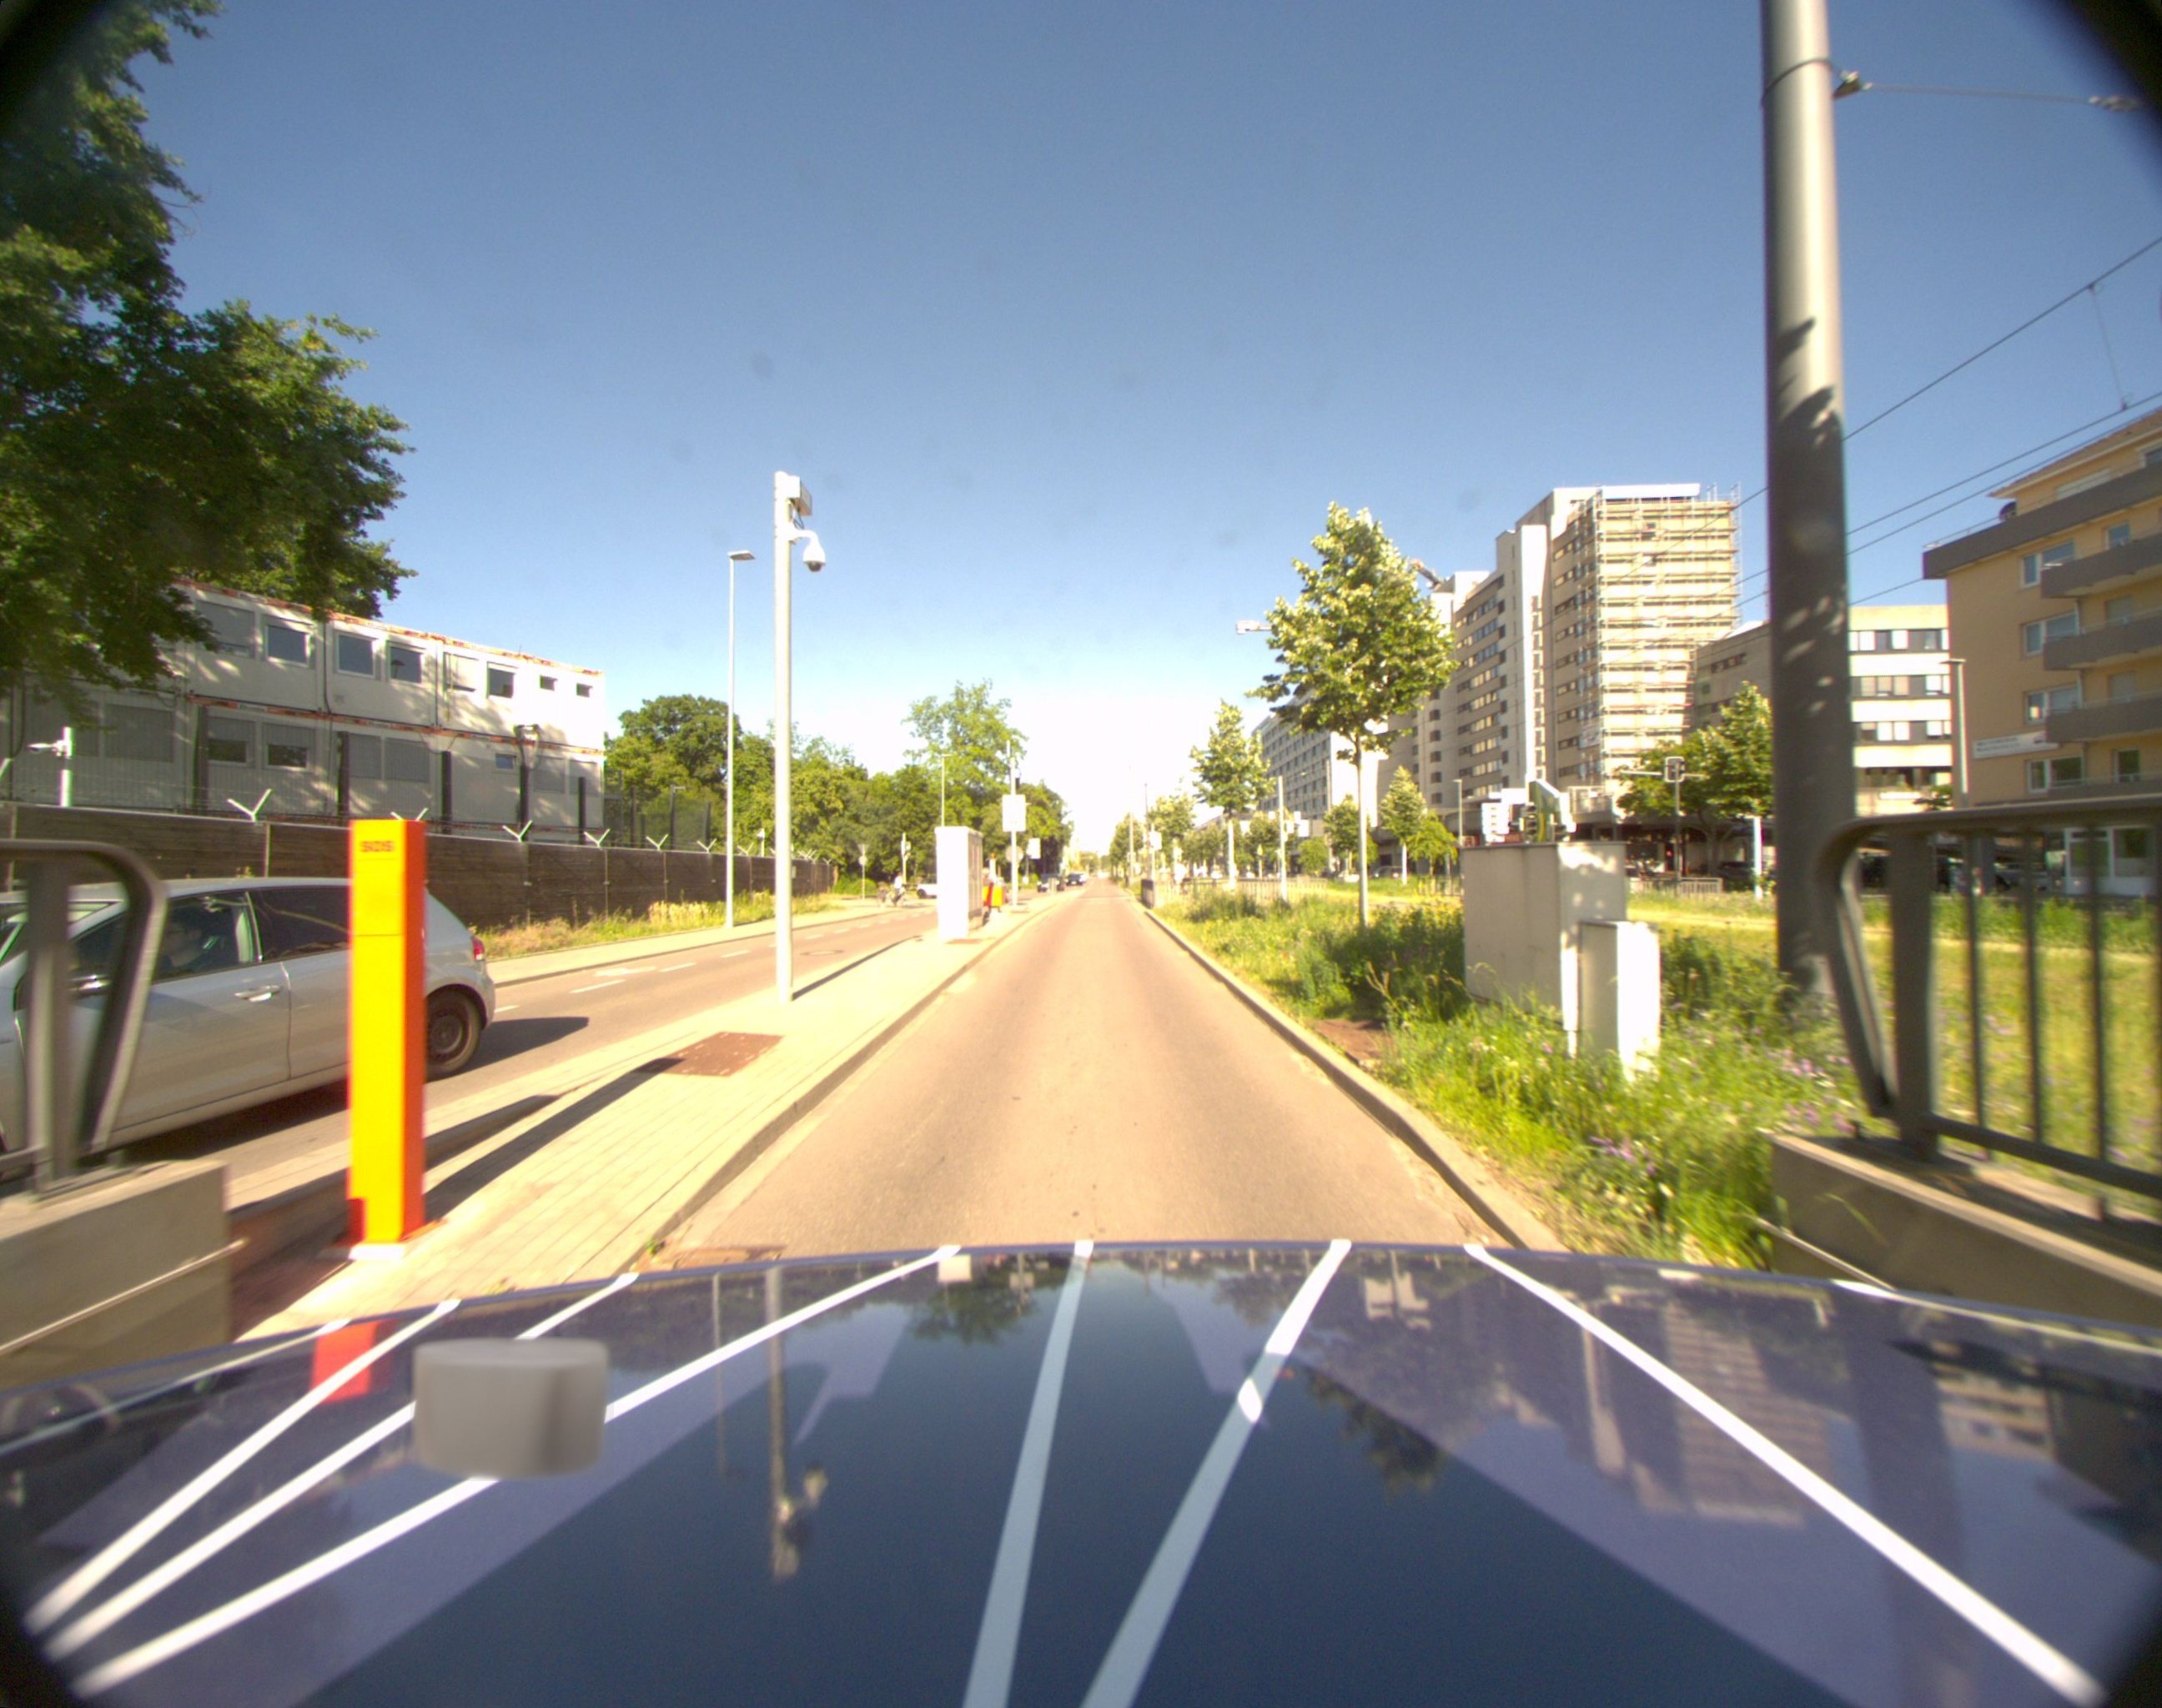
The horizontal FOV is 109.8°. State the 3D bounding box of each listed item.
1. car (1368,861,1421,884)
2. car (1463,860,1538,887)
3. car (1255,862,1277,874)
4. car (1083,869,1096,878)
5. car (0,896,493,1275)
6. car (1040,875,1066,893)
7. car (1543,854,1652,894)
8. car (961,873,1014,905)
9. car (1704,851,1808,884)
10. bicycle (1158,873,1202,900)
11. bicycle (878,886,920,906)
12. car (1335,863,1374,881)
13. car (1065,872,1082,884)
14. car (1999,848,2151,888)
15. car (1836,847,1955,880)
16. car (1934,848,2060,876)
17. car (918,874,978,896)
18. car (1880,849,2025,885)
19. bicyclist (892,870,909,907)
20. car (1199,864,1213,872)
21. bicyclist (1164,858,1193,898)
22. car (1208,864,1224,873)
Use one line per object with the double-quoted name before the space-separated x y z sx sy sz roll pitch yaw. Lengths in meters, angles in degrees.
"car" 22.849 1.328 55.511 1.914 1.587 4.656 -1 -1 0
"car" 25.154 1.149 45.771 1.914 1.494 4.656 -1 -1 0
"car" 25.540 1.915 104.833 1.914 1.561 4.595 -1 -1 0
"car" 1.306 2.863 113.321 1.829 1.328 4.001 -1 -1 1
"car" -5.295 1.047 3.727 1.671 1.427 3.973 -2 0 0
"car" -2.263 2.476 62.566 1.829 1.328 4.001 -1 -1 1
"car" 22.234 0.856 32.917 1.745 1.593 3.999 -1 -1 -5
"car" -4.435 1.652 36.641 1.838 1.393 4.300 -1 -1 2
"car" 41.750 0.822 47.144 2.013 1.907 4.654 -1 -1 -7
"bicycle" 4.205 1.362 32.544 0.726 1.050 1.978 -3 1 -33
"bicycle" -8.387 1.947 35.110 1.862 0.896 0.492 2 -1 -11
"car" 25.701 1.668 71.571 1.914 1.561 4.656 -1 -1 0
"car" -0.908 2.899 90.527 1.829 1.328 4.001 -1 -1 1
"car" 47.947 0.672 36.735 4.652 1.769 2.014 -1 -1 1
"car" 49.532 0.600 46.388 2.013 1.907 4.654 -1 -1 -7
"car" 56.907 0.509 47.339 2.013 1.607 4.654 -1 -1 -7
"car" -8.977 2.096 51.265 3.734 1.393 1.483 -2 -1 22
"car" 42.061 0.641 36.759 4.652 1.583 2.014 -1 -1 1
"bicyclist" -8.348 1.583 35.116 0.700 1.699 0.659 2 -1 -11
"car" 25.434 2.889 154.830 1.914 1.561 4.595 -1 -1 0
"bicyclist" 4.187 1.004 32.543 0.861 1.676 0.818 -1 0 -34
"car" 23.955 2.644 135.142 1.914 1.561 4.595 -1 -1 0
